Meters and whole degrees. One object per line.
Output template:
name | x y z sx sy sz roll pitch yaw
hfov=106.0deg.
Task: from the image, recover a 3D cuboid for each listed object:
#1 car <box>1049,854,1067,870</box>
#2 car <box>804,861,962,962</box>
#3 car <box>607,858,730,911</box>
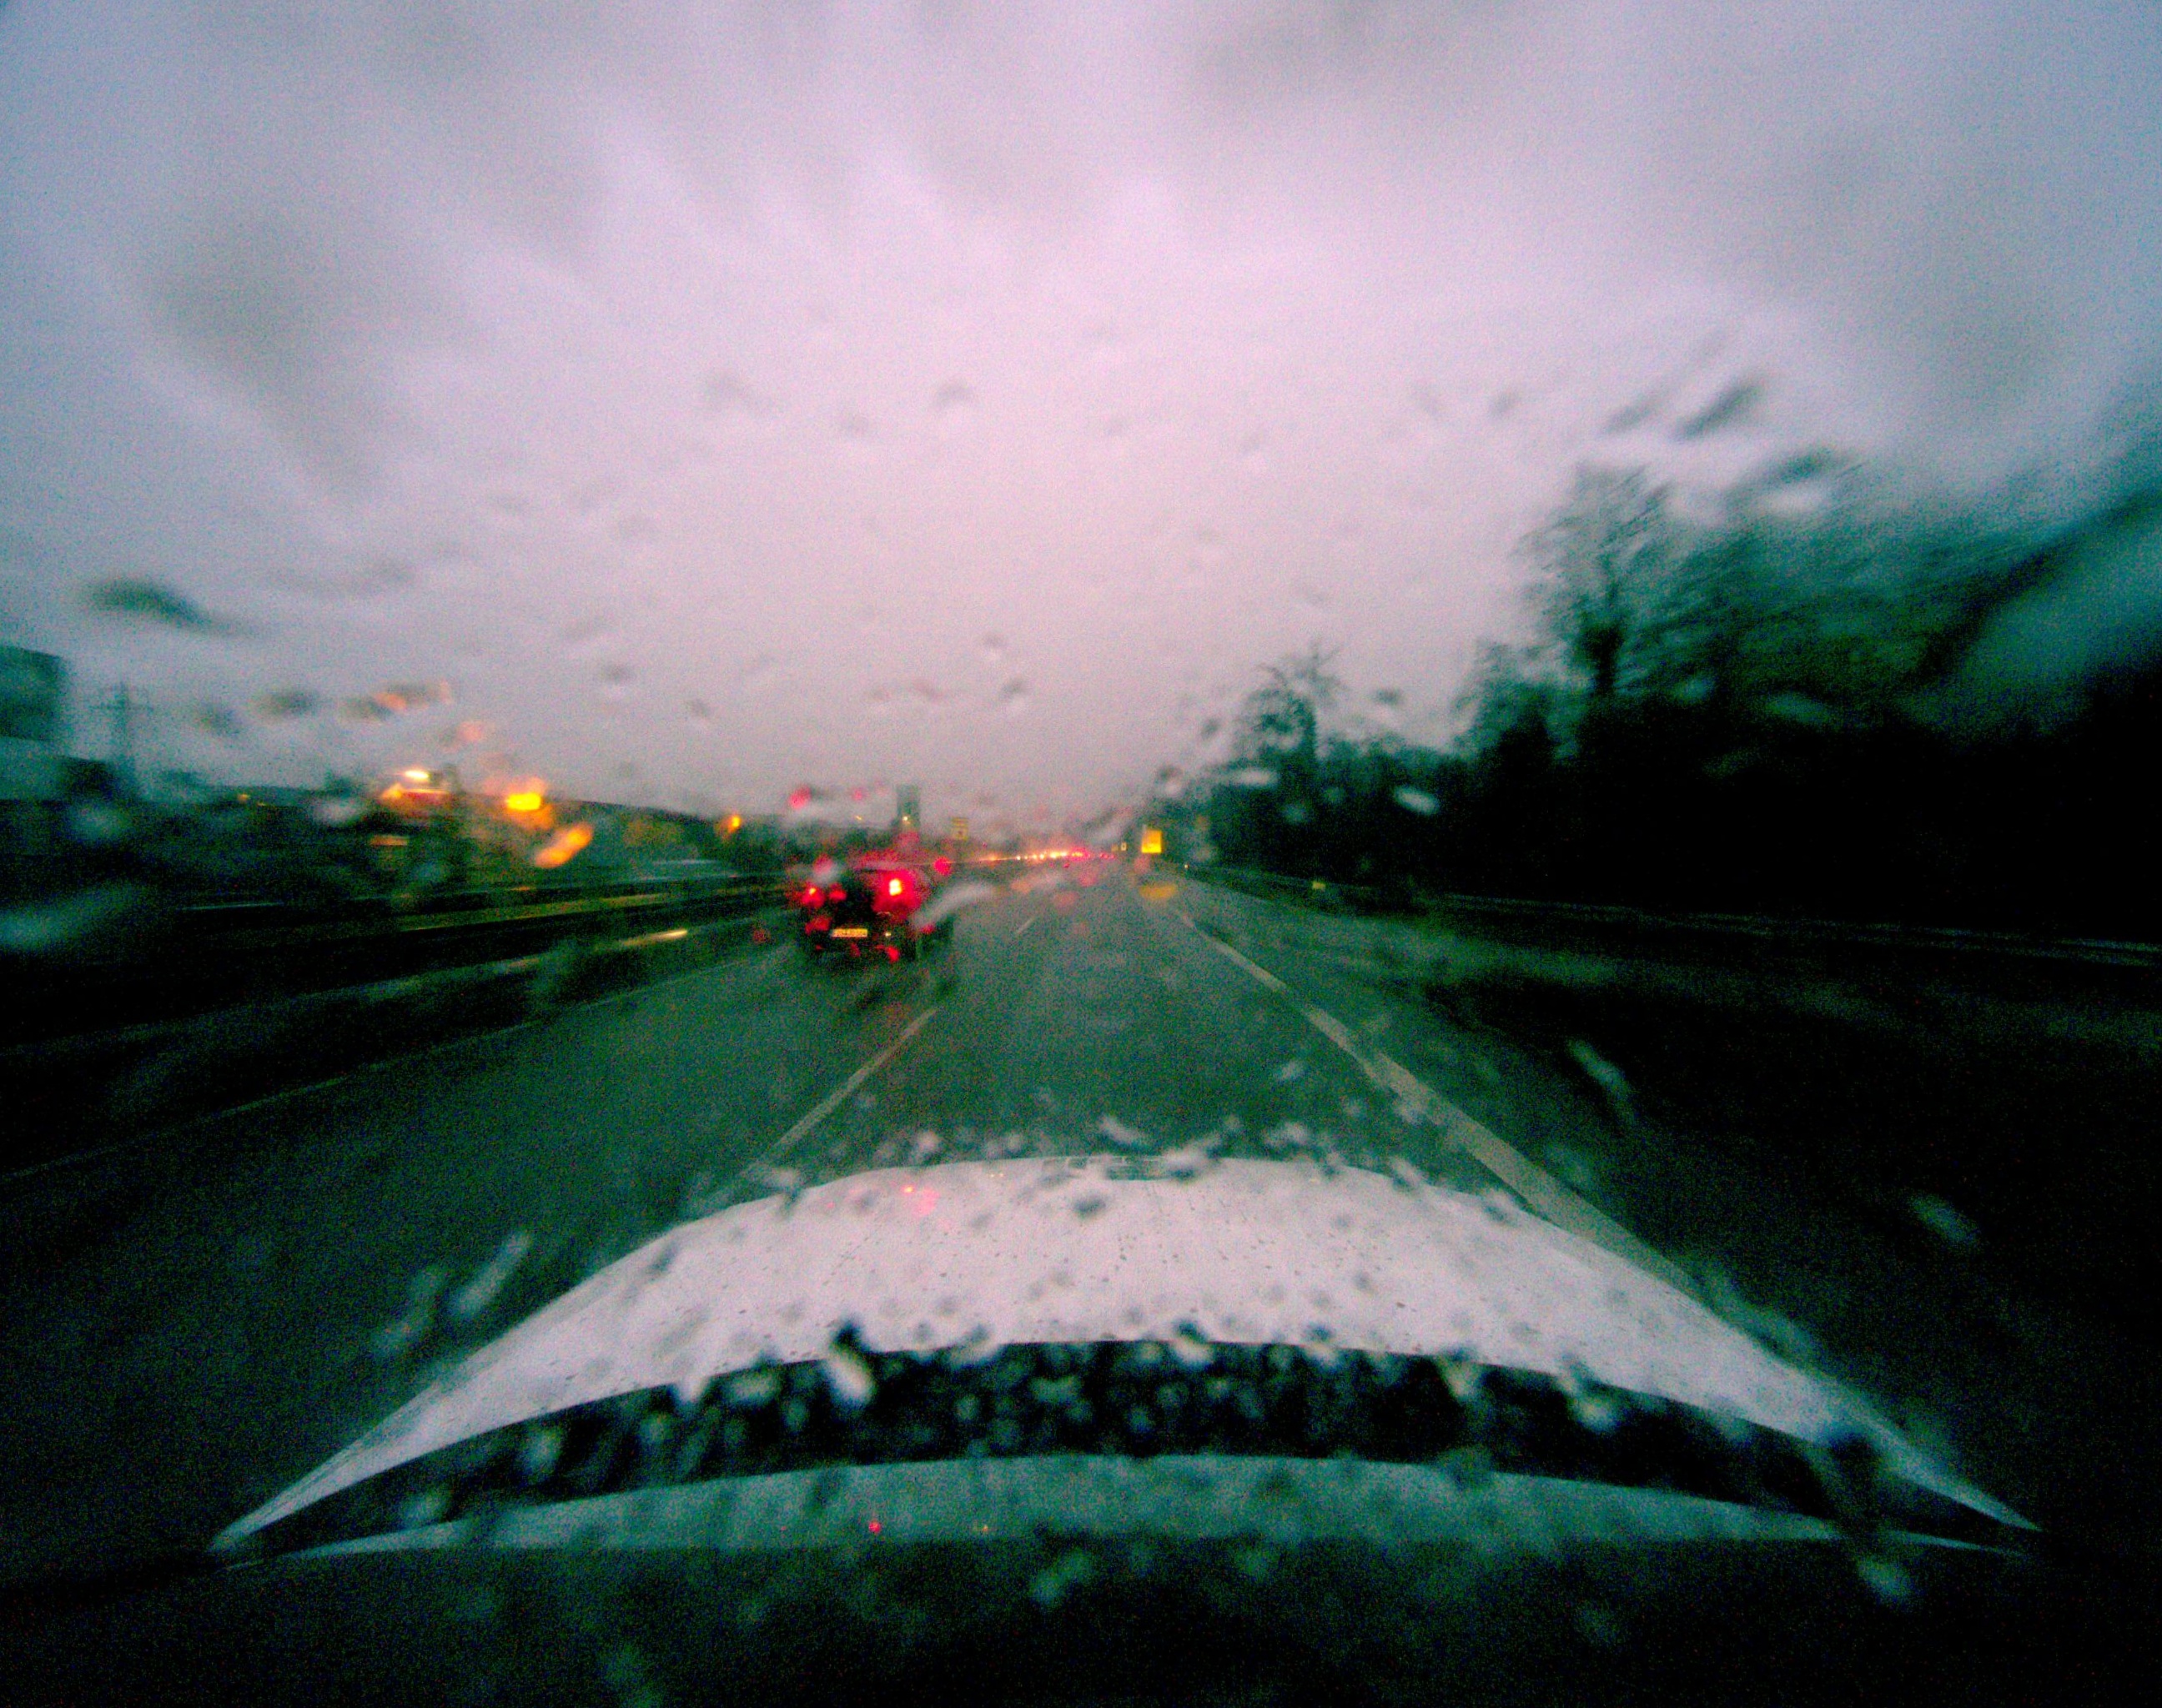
car | -1.926 0.679 69.183 1.411 1.317 3.083 1 0 1
car | -3.102 0.834 13.560 1.620 1.392 3.999 1 0 0
car | -12.779 0.894 25.527 1.730 1.508 4.001 0 0 1
